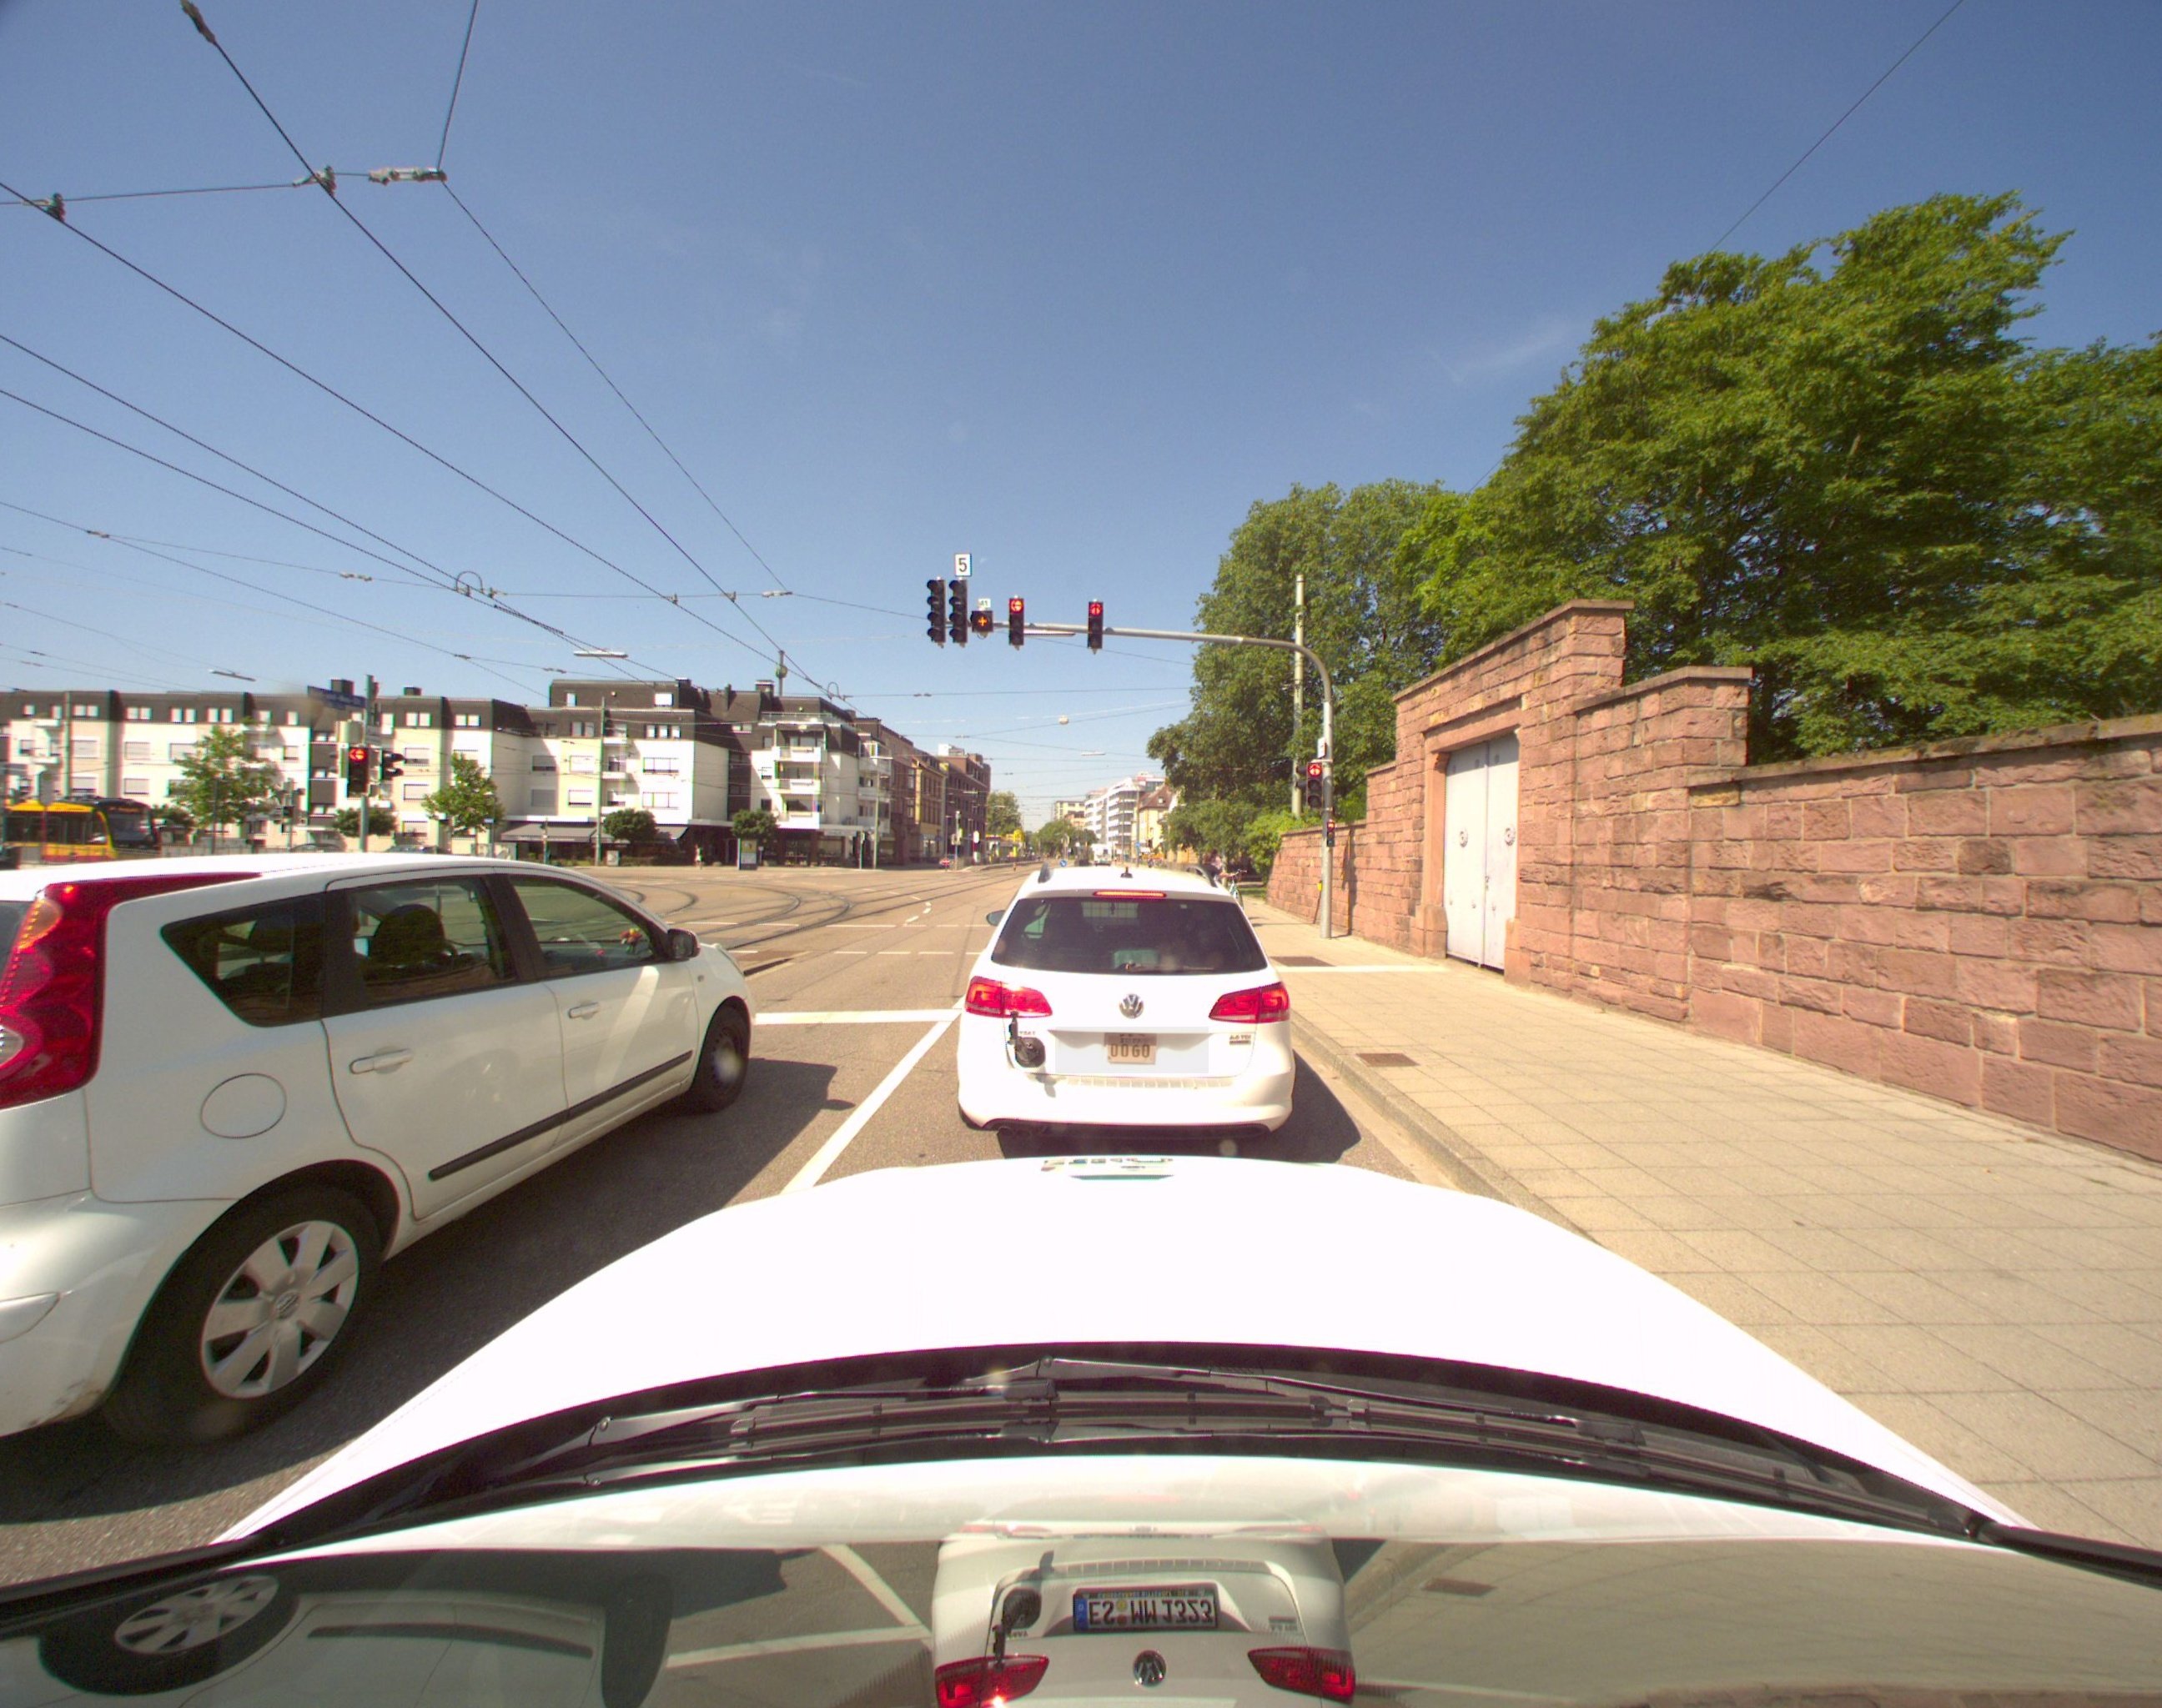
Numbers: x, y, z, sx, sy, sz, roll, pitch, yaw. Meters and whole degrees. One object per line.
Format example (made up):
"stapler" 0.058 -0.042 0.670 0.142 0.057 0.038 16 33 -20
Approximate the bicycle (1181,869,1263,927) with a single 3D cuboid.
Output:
"bicycle" 3.136 0.933 17.952 2.038 1.090 0.701 -3 2 -45

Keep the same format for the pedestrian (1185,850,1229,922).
"pedestrian" 2.837 0.704 18.324 0.752 1.571 0.667 -1 1 -43

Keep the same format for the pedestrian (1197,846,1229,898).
"pedestrian" 4.330 0.591 26.835 0.948 1.651 0.976 -1 -1 5

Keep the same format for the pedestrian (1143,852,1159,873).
"pedestrian" 5.875 0.721 68.510 0.868 1.743 0.964 0 -2 -35

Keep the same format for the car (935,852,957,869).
"car" -13.865 0.695 83.751 1.736 1.618 3.997 -1 -1 -1

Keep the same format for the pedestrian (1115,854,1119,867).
"pedestrian" 6.487 1.226 148.151 0.687 2.325 1.233 -1 -1 3

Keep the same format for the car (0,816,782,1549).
"car" -2.918 0.687 3.644 1.636 1.566 3.805 -1 1 1

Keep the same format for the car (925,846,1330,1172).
"car" 0.261 0.699 5.666 1.801 1.448 4.001 -1 0 1

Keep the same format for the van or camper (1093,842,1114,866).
"van or camper" 2.957 0.022 106.866 2.556 3.093 5.707 -1 -1 3
